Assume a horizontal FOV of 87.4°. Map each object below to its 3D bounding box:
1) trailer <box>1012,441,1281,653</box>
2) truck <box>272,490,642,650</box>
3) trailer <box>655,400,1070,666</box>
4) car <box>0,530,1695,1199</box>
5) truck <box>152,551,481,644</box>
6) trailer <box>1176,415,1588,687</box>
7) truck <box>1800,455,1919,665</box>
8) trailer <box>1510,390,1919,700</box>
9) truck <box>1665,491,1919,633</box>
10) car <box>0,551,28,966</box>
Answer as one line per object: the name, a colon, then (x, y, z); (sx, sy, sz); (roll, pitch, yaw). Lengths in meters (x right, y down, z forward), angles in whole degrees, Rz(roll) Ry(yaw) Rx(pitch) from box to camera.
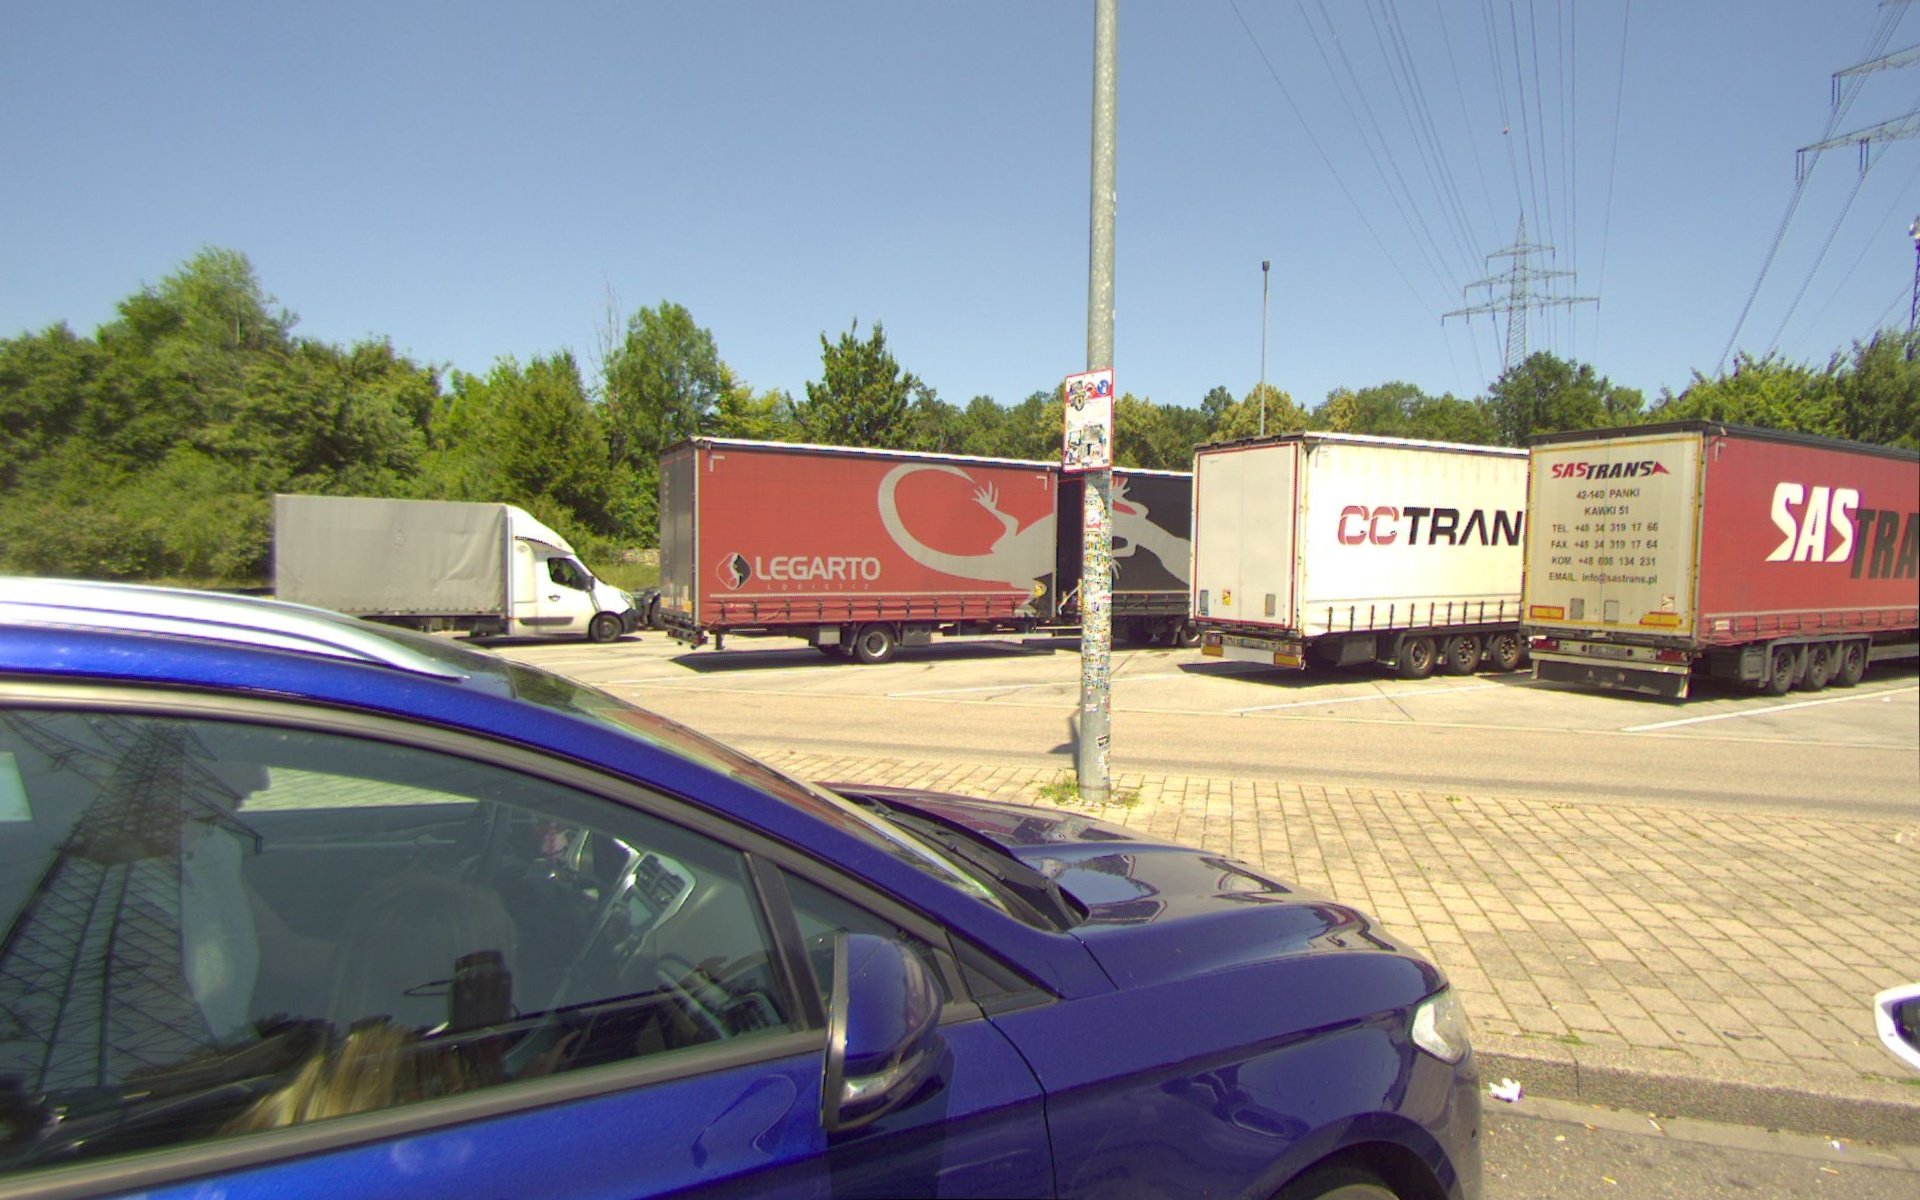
trailer: (4.516, -1.114, 24.064); (6.076, 4.505, 2.665); (0, 1, -30)
truck: (-11.116, -0.587, 22.736); (7.171, 3.194, 2.160); (0, 1, -30)
trailer: (-1.784, -1.121, 20.218); (7.963, 4.510, 2.648); (0, 1, -31)
car: (-0.974, 0.667, 1.480); (4.362, 1.437, 1.731); (1, 0, -30)
truck: (-15.396, -0.039, 24.574); (6.538, 2.040, 1.984); (0, 0, -30)
trailer: (8.089, -0.763, 18.847); (8.189, 4.208, 2.741); (0, 1, -30)
truck: (21.455, -0.790, 22.061); (5.824, 4.189, 2.792); (0, 1, -30)
trailer: (15.271, -0.732, 18.427); (13.046, 4.276, 2.786); (0, 0, -31)
truck: (27.440, -1.101, 30.258); (9.851, 4.087, 2.242); (2, 1, 14)
car: (-4.316, 0.515, 2.209); (3.077, 1.378, 1.334); (1, 0, -30)
